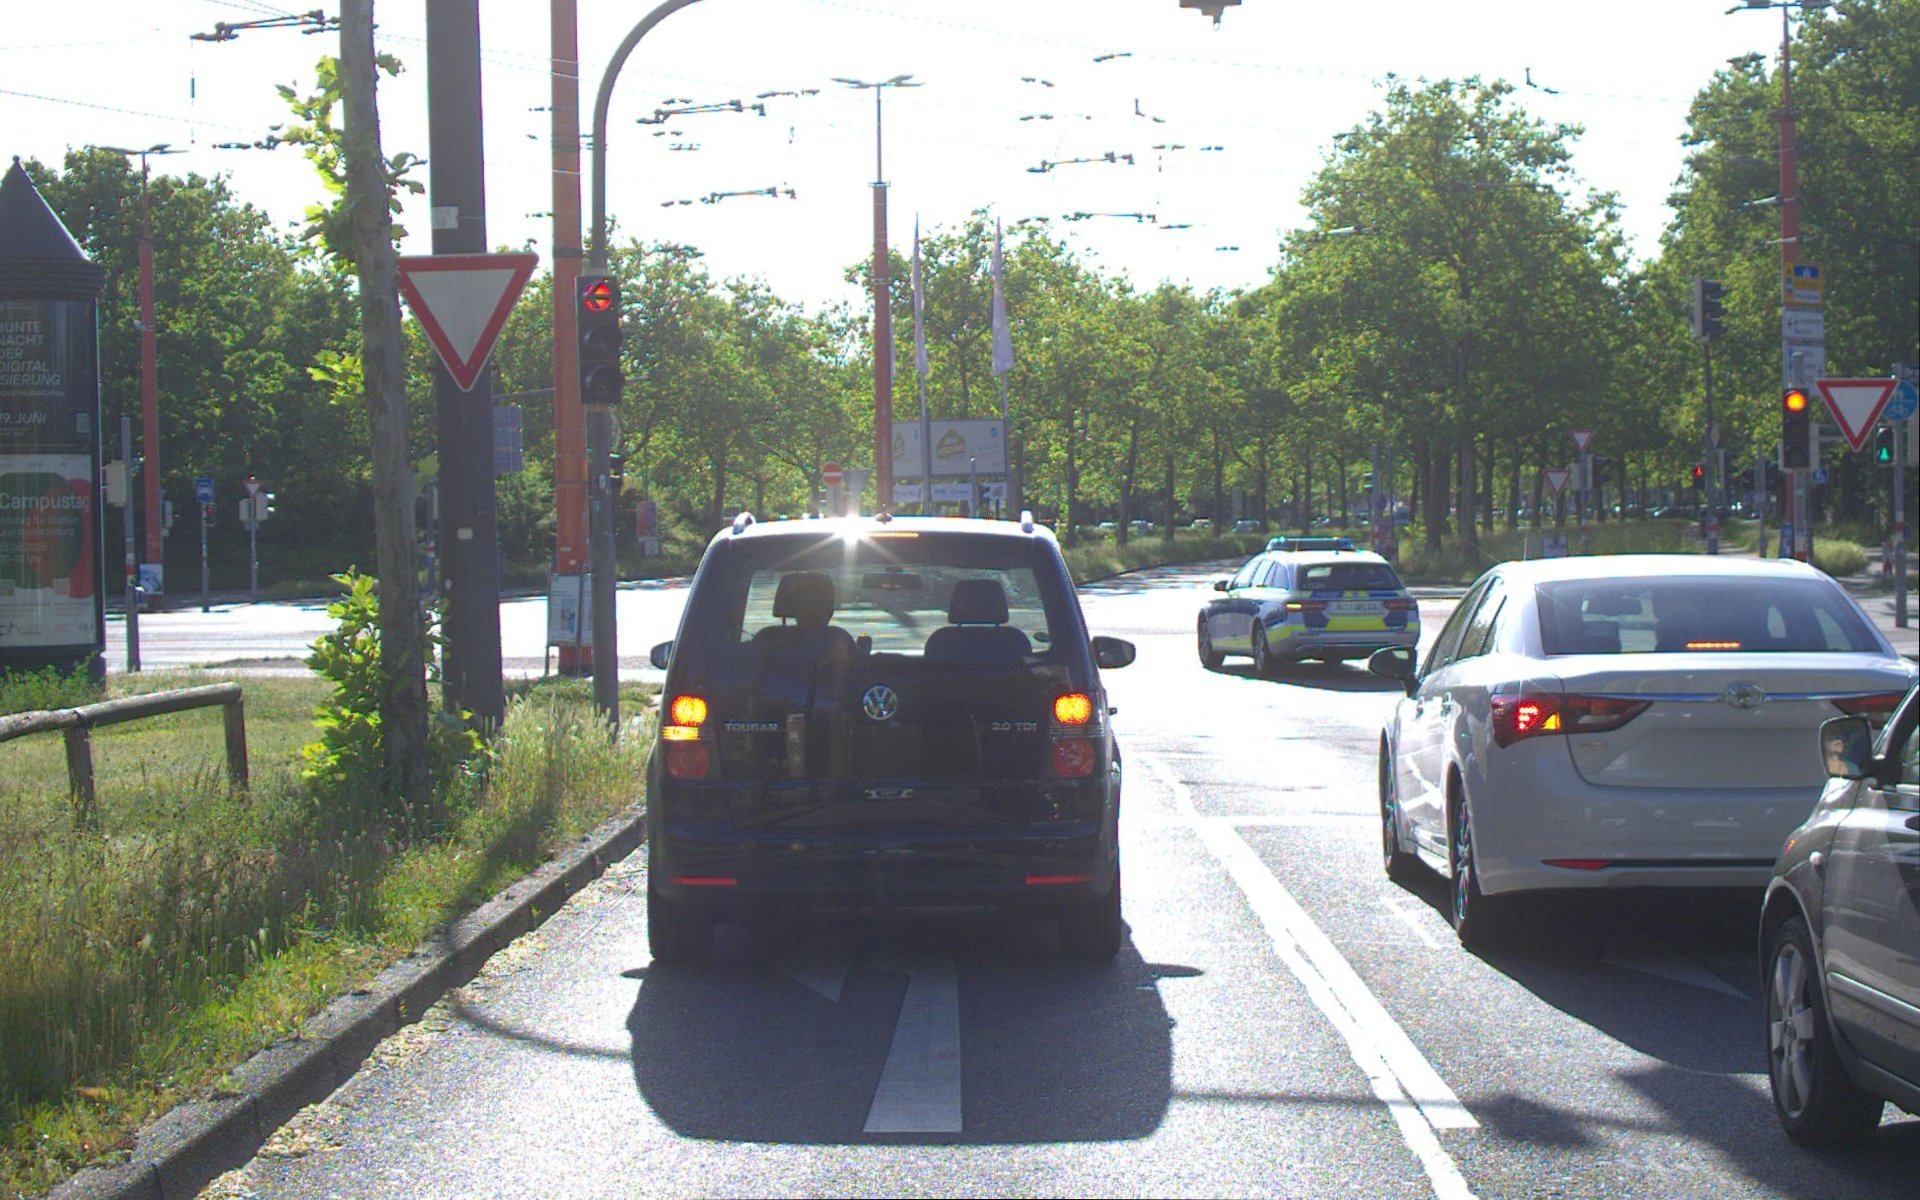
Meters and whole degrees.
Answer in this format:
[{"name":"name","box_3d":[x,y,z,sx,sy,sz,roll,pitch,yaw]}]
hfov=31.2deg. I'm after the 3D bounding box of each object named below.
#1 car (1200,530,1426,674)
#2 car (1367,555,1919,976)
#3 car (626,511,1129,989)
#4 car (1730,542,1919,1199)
[{"name":"car","box_3d":[4.265,-0.012,42.166,1.797,1.650,4.115,-1,1,-8]},{"name":"car","box_3d":[2.723,0.545,13.986,1.720,1.433,4.198,0,1,1]},{"name":"car","box_3d":[-0.302,0.478,13.684,1.700,1.616,3.897,-1,1,-1]},{"name":"car","box_3d":[2.892,0.632,7.403,1.654,1.495,3.615,0,1,0]}]
